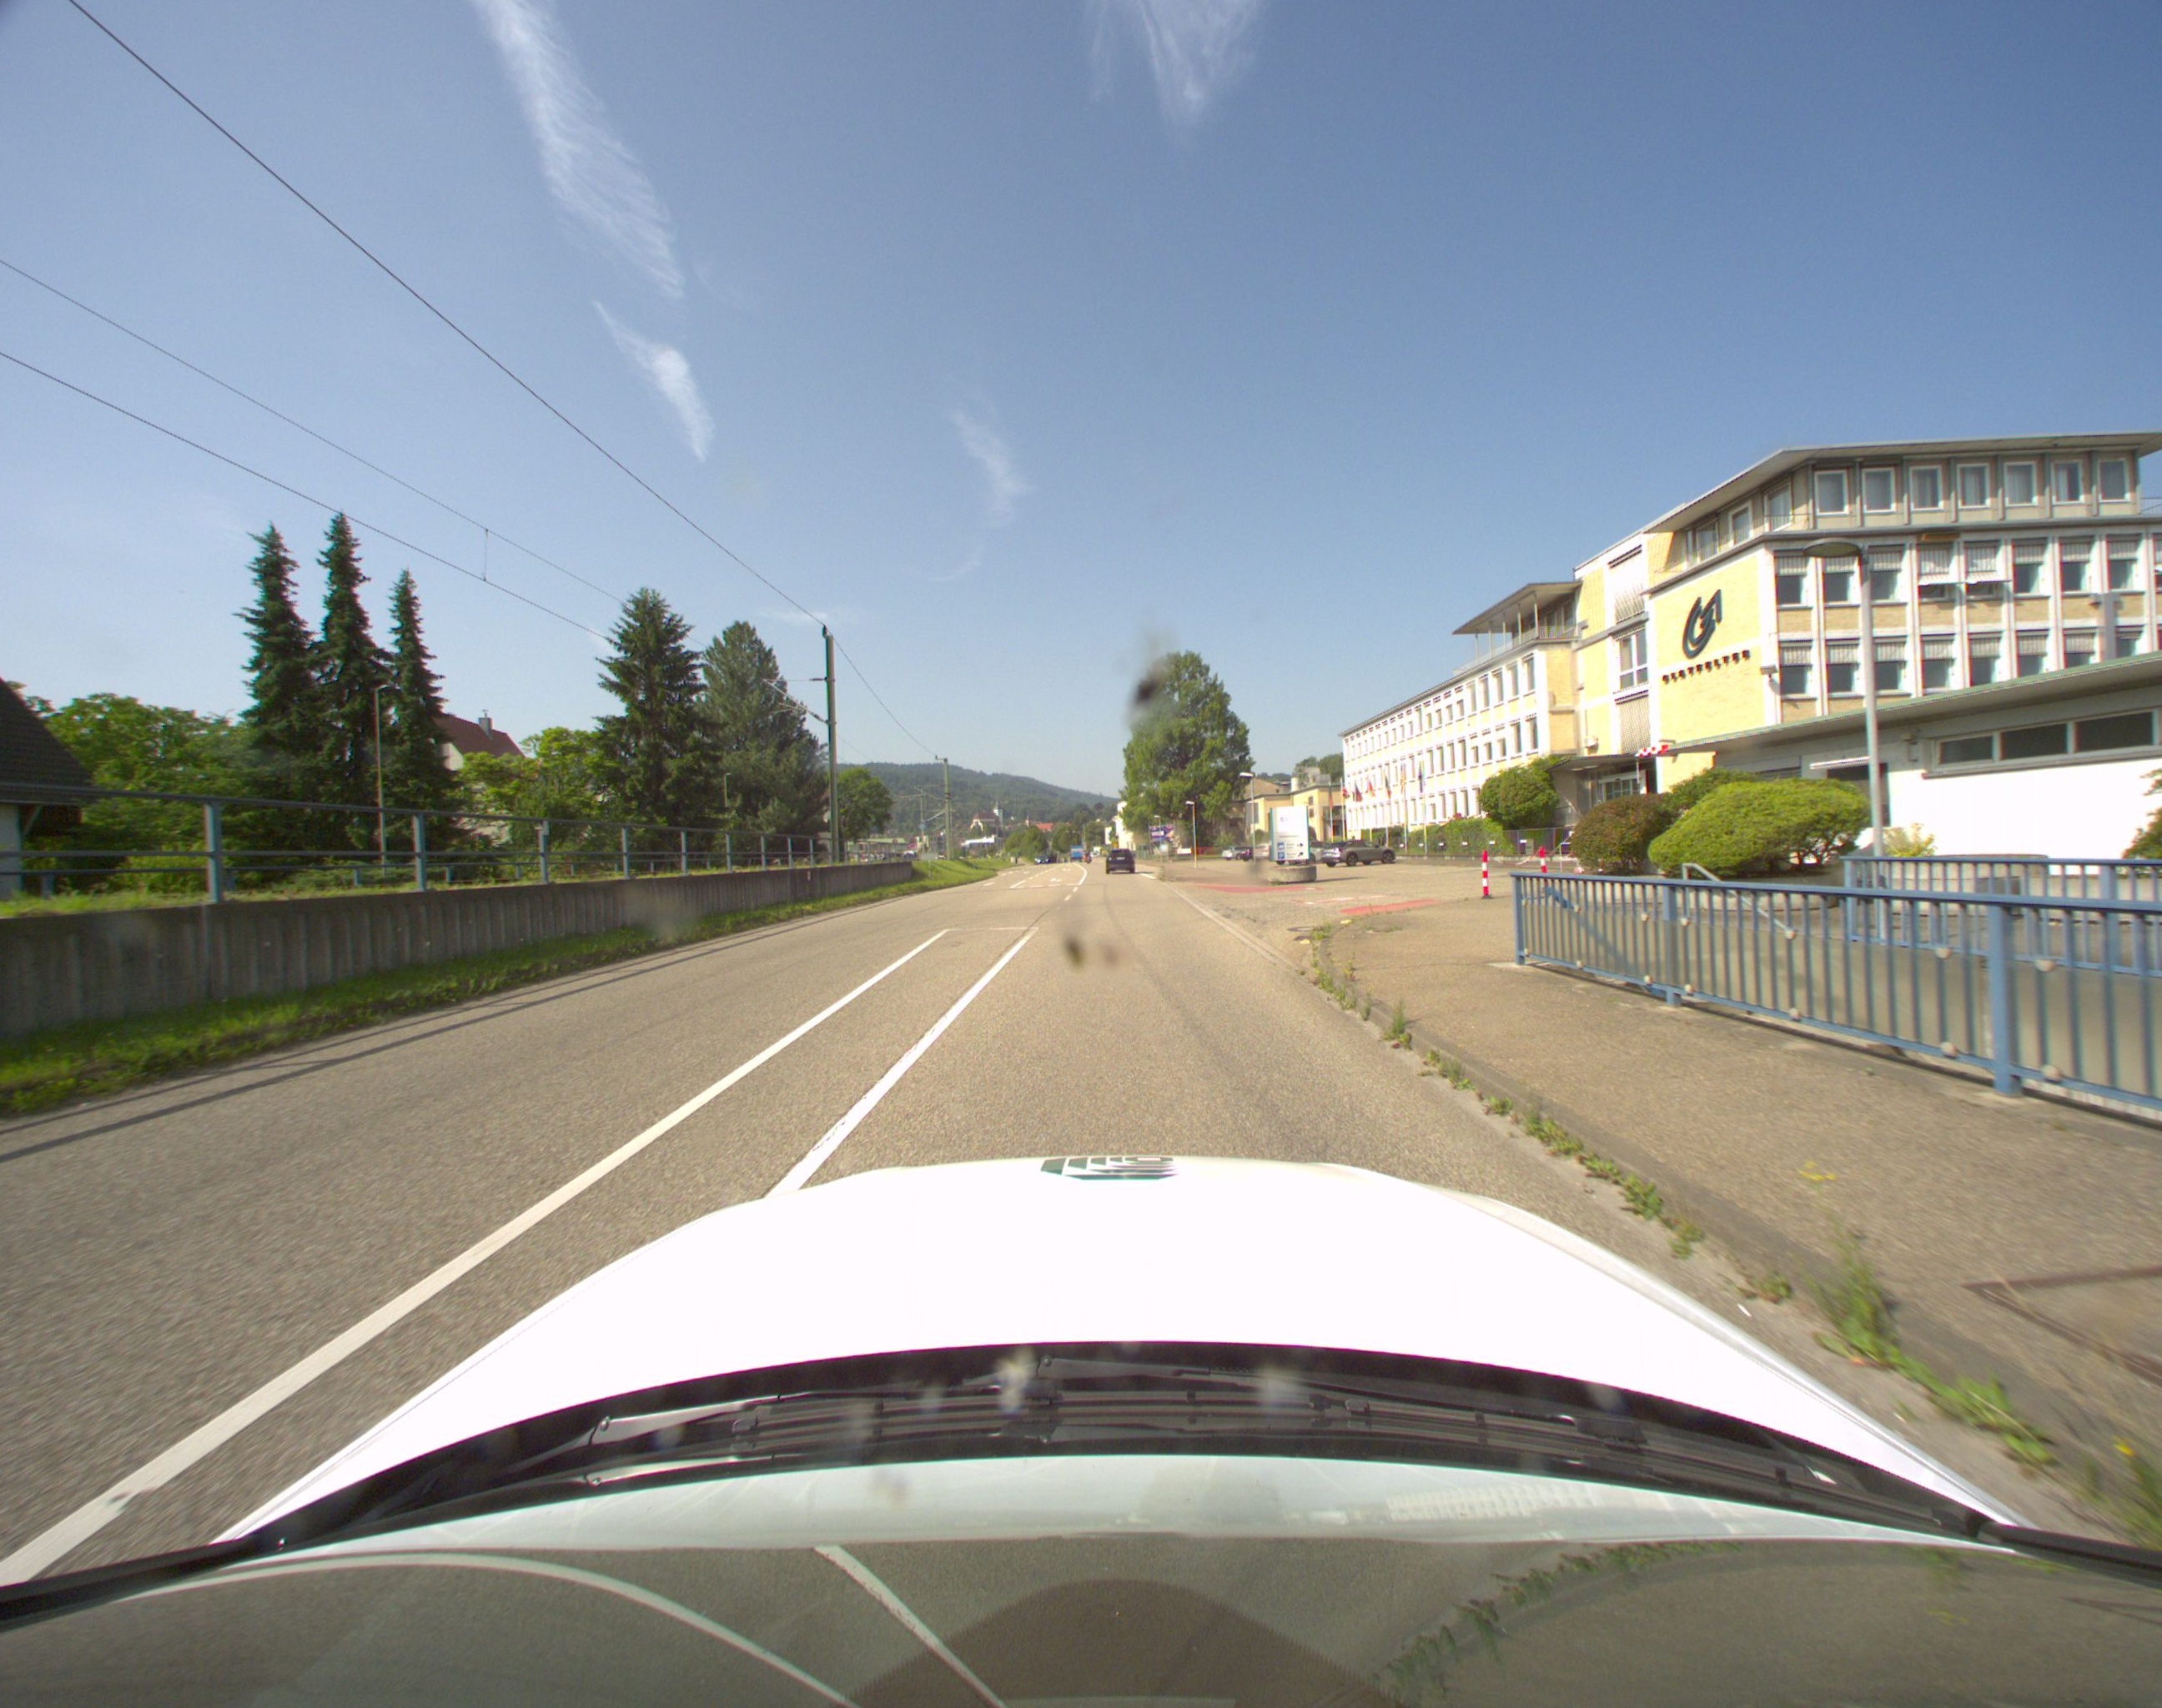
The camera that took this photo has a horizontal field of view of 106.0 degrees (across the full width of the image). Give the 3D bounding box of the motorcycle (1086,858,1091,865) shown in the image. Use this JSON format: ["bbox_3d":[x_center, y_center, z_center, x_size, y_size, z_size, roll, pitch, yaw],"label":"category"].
[{"bbox_3d":[0.904,0.888,97.178,0.604,0.753,1.414,-2,0,1],"label":"motorcycle"}]

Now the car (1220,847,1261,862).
[{"bbox_3d":[16.349,0.022,83.513,4.013,1.401,1.648,-2,0,-30],"label":"car"}]

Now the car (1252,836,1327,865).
[{"bbox_3d":[14.761,-0.272,57.543,5.049,1.832,1.965,-3,0,-28],"label":"car"}]

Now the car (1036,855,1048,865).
[{"bbox_3d":[-5.838,0.869,122.364,1.750,1.429,3.997,-2,0,-2],"label":"car"}]

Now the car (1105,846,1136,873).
[{"bbox_3d":[2.579,0.357,53.310,1.912,1.640,4.003,-2,0,2],"label":"car"}]

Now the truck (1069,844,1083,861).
[{"bbox_3d":[-1.009,-0.242,148.709,2.306,2.970,5.961,-2,0,-2],"label":"truck"}]

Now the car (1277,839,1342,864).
[{"bbox_3d":[15.401,-0.190,54.925,4.010,1.505,1.869,-3,0,-28],"label":"car"}]

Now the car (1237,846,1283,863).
[{"bbox_3d":[16.583,0.011,75.427,4.013,1.401,1.648,-2,0,-30],"label":"car"}]

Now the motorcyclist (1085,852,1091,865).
[{"bbox_3d":[0.865,0.487,97.184,0.604,1.520,0.863,-2,0,0],"label":"motorcyclist"}]

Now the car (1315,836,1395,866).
[{"bbox_3d":[15.653,-0.173,46.537,4.322,1.505,1.869,-3,0,-28],"label":"car"}]

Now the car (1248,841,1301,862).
[{"bbox_3d":[16.548,-0.208,69.541,4.185,1.672,1.852,-2,0,-29],"label":"car"}]

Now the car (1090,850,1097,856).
[{"bbox_3d":[3.386,-0.186,221.344,1.760,1.486,4.002,-1,-1,2],"label":"car"}]
